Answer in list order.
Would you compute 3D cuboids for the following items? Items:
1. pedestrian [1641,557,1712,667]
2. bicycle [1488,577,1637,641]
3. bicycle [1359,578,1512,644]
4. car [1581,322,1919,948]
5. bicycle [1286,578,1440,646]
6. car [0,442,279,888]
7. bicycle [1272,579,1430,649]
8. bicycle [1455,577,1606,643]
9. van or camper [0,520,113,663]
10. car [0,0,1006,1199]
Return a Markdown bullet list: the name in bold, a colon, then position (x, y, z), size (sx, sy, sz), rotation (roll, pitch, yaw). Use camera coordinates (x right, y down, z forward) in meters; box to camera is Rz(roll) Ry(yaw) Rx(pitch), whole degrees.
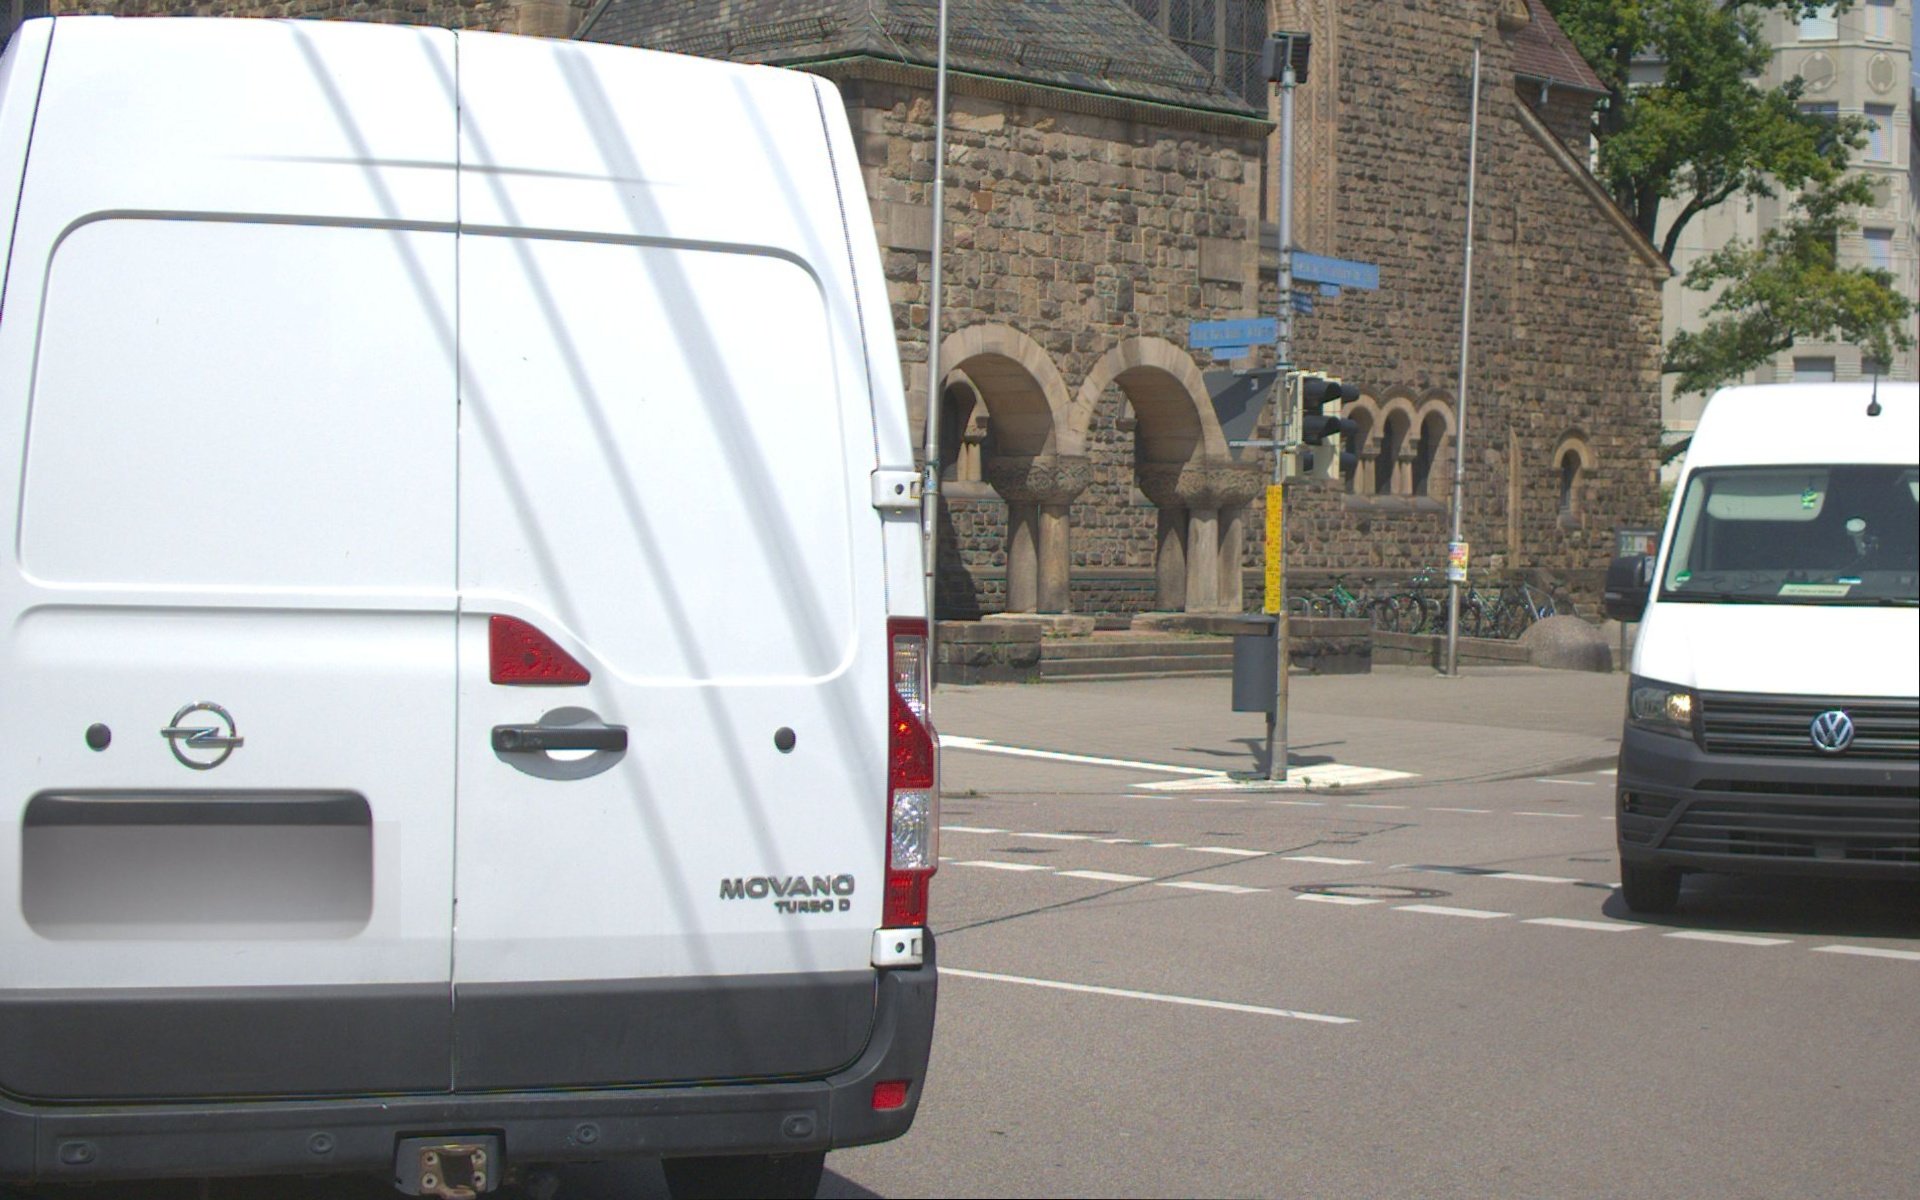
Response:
- **pedestrian**: position (10.270, 0.167, 49.266), size (0.720, 1.553, 0.790), rotation (1, 0, 37)
- **bicycle**: position (10.042, 0.146, 57.370), size (0.704, 1.008, 2.497), rotation (-1, 2, -45)
- **bicycle**: position (7.605, 0.165, 55.098), size (0.704, 1.008, 2.497), rotation (-1, 2, -45)
- **car**: position (4.762, 0.086, 17.689), size (2.072, 2.628, 6.627), rotation (1, 1, 19)
- **bicycle**: position (6.313, 0.175, 53.941), size (0.704, 1.008, 2.497), rotation (-1, 2, -45)
- **car**: position (-4.902, 0.256, 16.953), size (1.916, 1.937, 4.265), rotation (1, 0, -27)
- **bicycle**: position (5.968, 0.202, 52.544), size (0.704, 1.008, 2.497), rotation (-1, 2, -45)
- **bicycle**: position (9.372, 0.155, 56.593), size (0.704, 1.008, 2.497), rotation (-1, 2, -45)
- **van or camper**: position (-12.978, -0.124, 43.442), size (1.998, 1.801, 3.990), rotation (1, 0, 40)
- **car**: position (-1.822, 0.131, 8.620), size (2.116, 2.450, 5.056), rotation (1, 0, -21)
